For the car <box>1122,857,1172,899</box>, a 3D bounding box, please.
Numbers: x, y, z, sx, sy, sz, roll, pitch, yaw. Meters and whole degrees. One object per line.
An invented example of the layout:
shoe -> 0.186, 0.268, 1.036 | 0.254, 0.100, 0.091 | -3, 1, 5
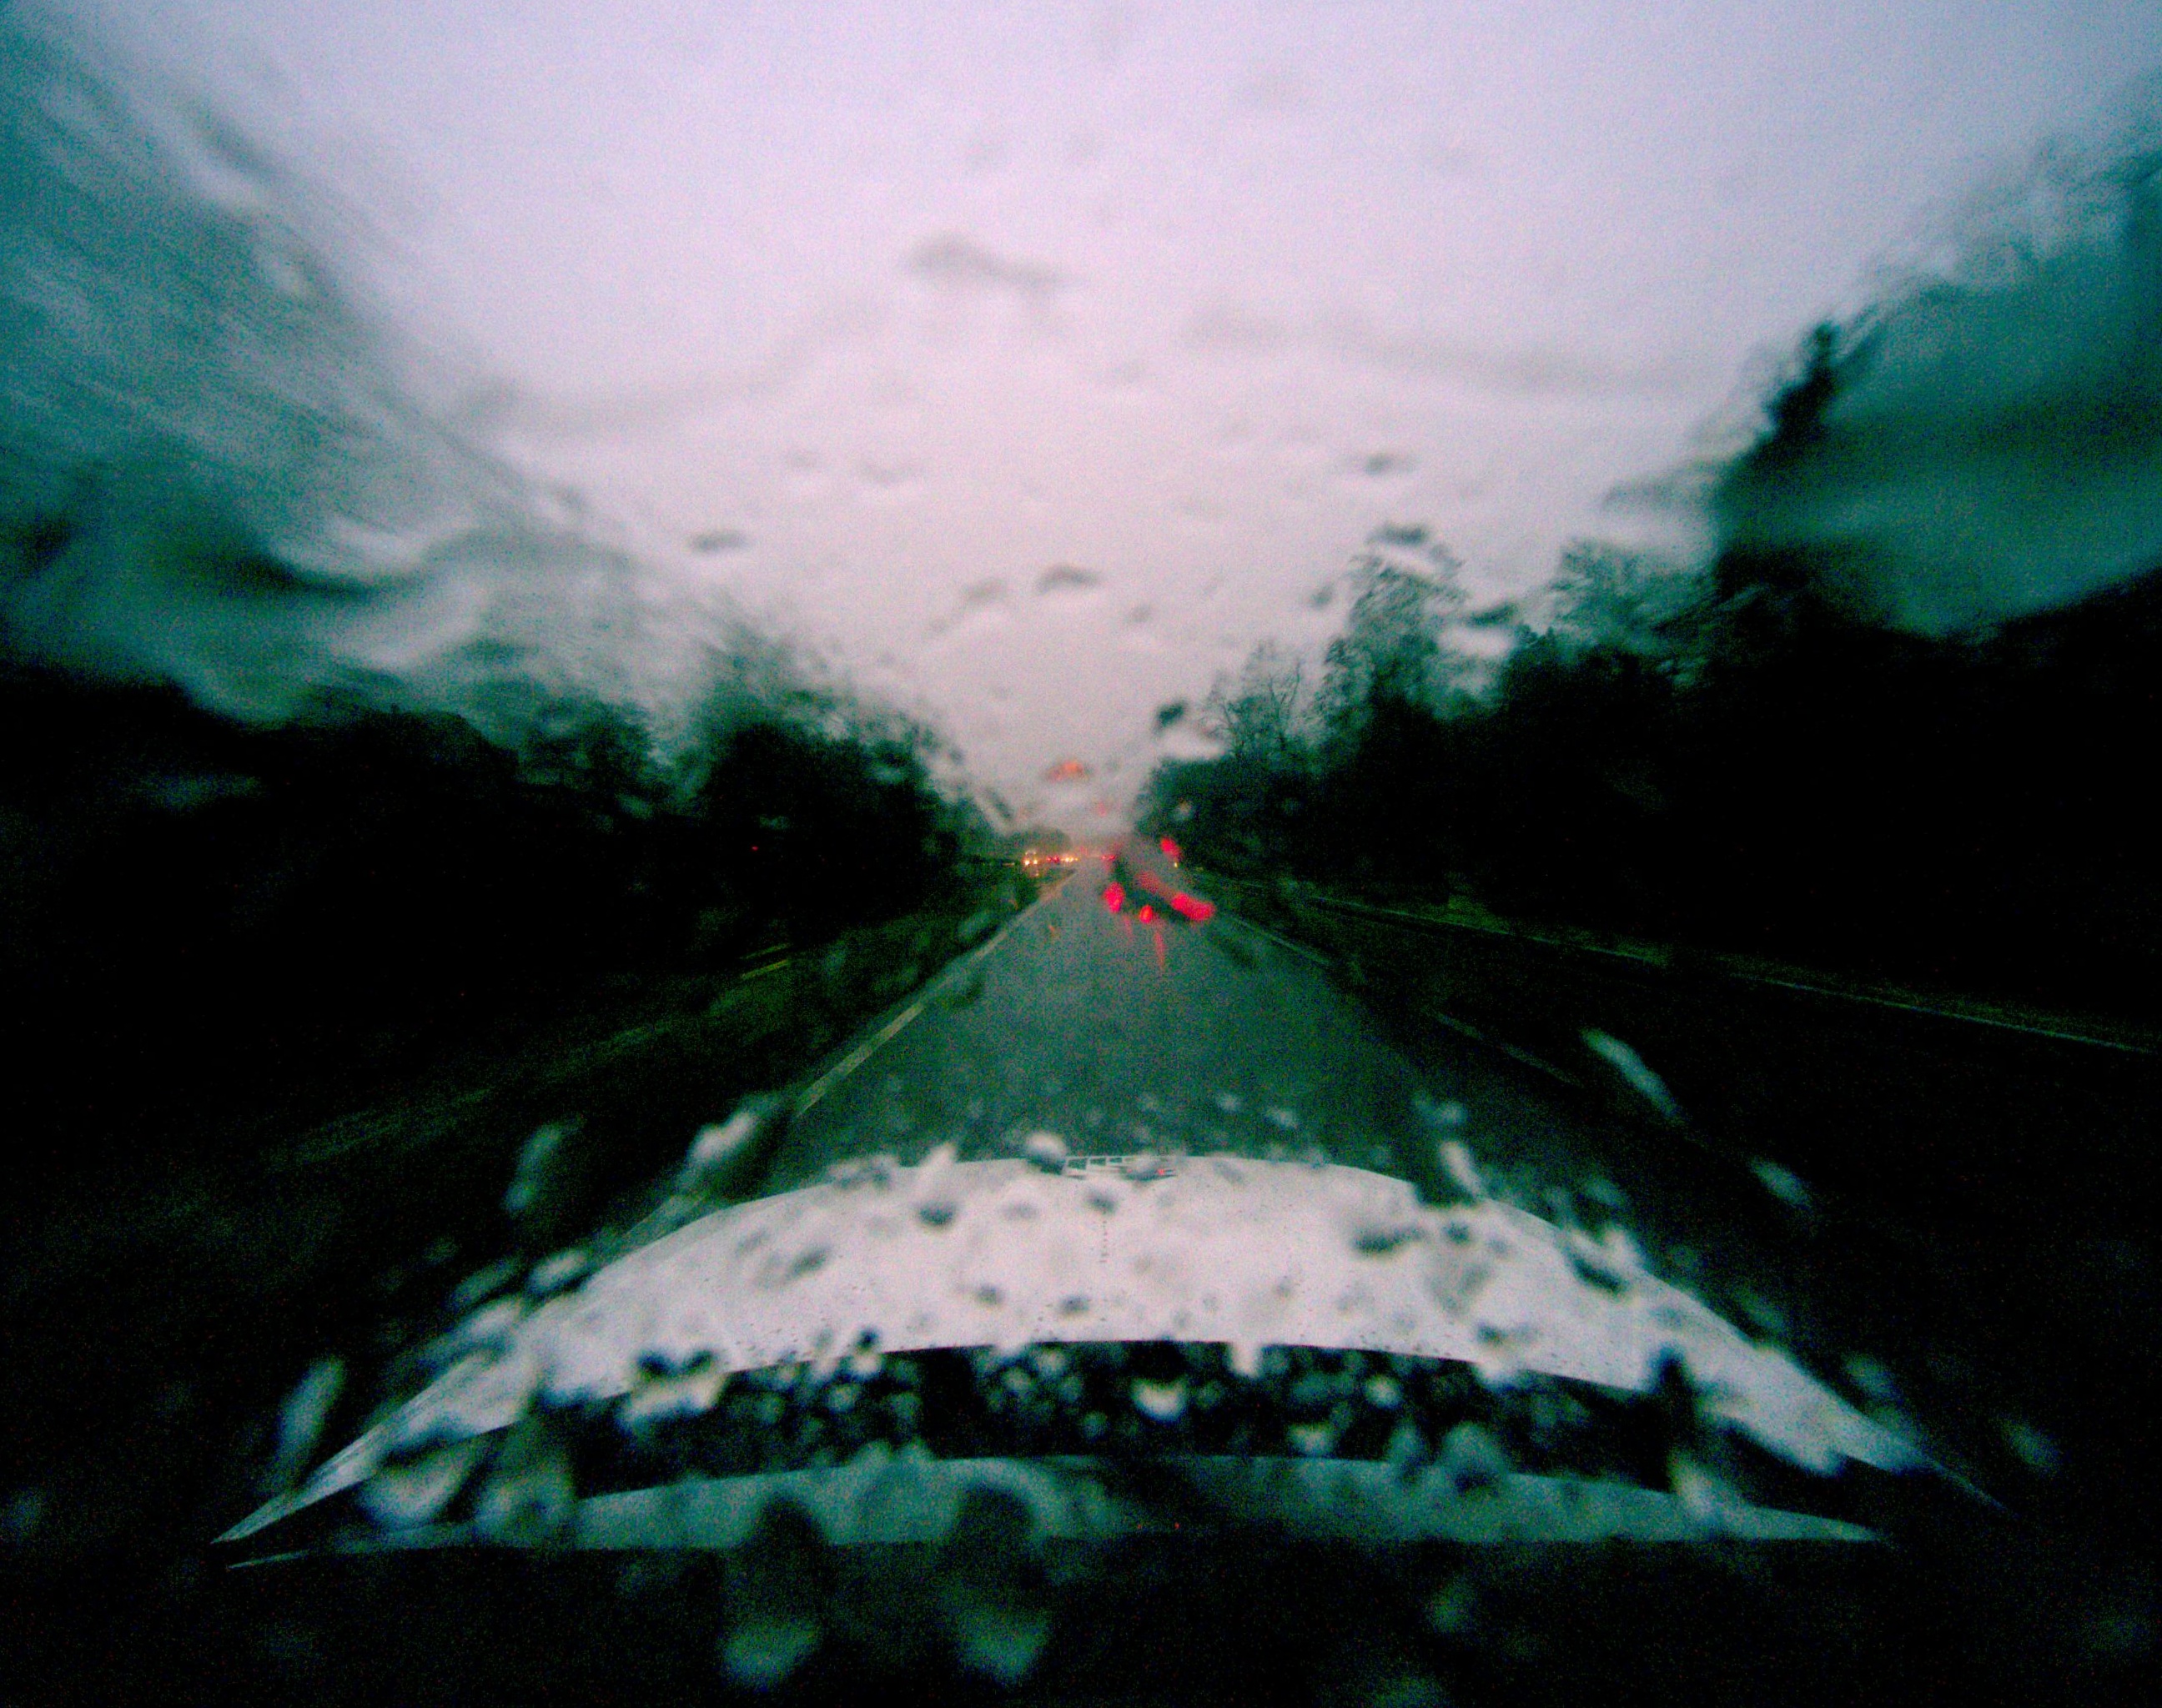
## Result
car -> 2.445, 0.862, 30.985 | 1.725, 1.429, 3.767 | 1, 0, 2
